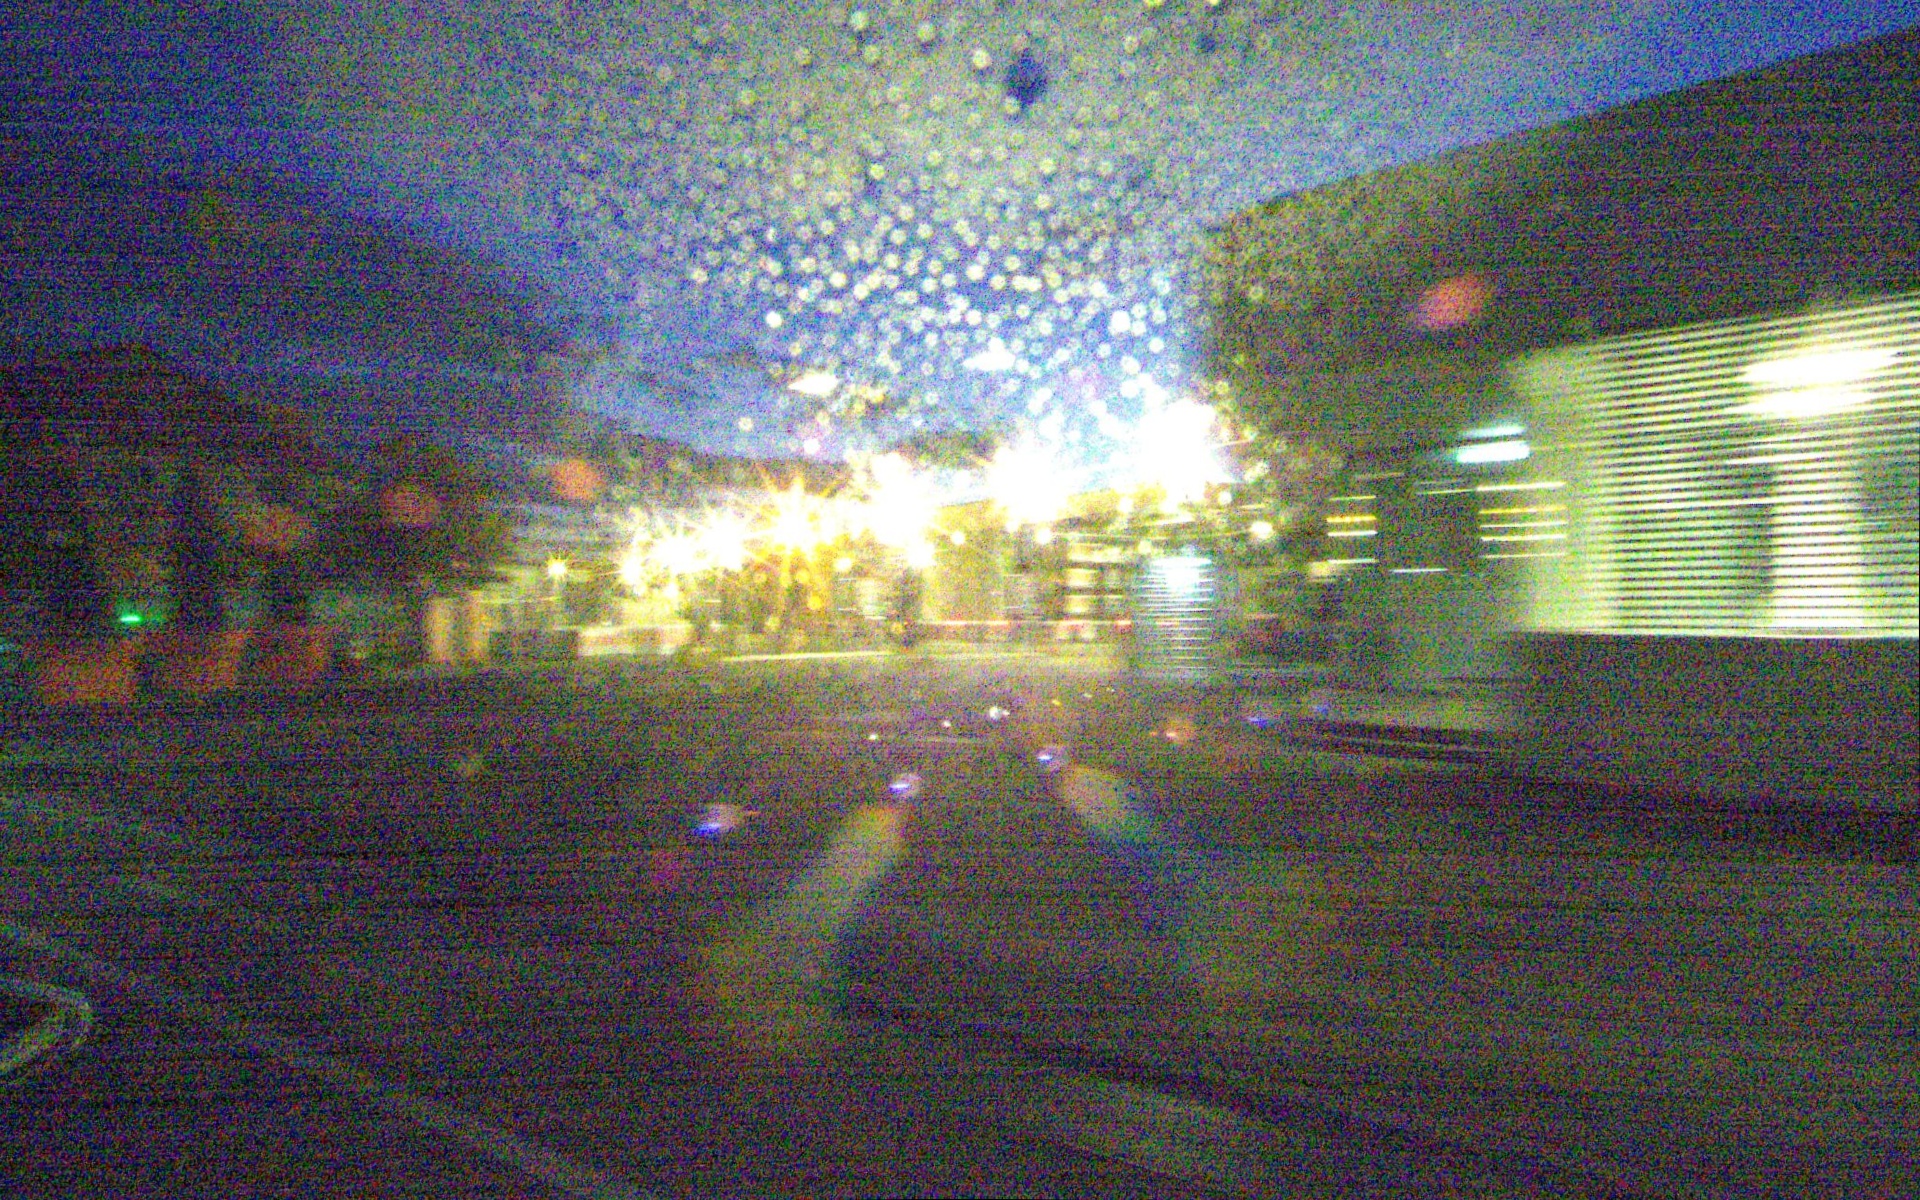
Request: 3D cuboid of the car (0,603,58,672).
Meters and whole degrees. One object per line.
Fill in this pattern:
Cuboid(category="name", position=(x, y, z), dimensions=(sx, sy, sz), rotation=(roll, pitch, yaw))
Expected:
Cuboid(category="car", position=(-24.999, 0.982, 24.236), dimensions=(1.858, 1.669, 4.331), rotation=(0, 2, 17))
